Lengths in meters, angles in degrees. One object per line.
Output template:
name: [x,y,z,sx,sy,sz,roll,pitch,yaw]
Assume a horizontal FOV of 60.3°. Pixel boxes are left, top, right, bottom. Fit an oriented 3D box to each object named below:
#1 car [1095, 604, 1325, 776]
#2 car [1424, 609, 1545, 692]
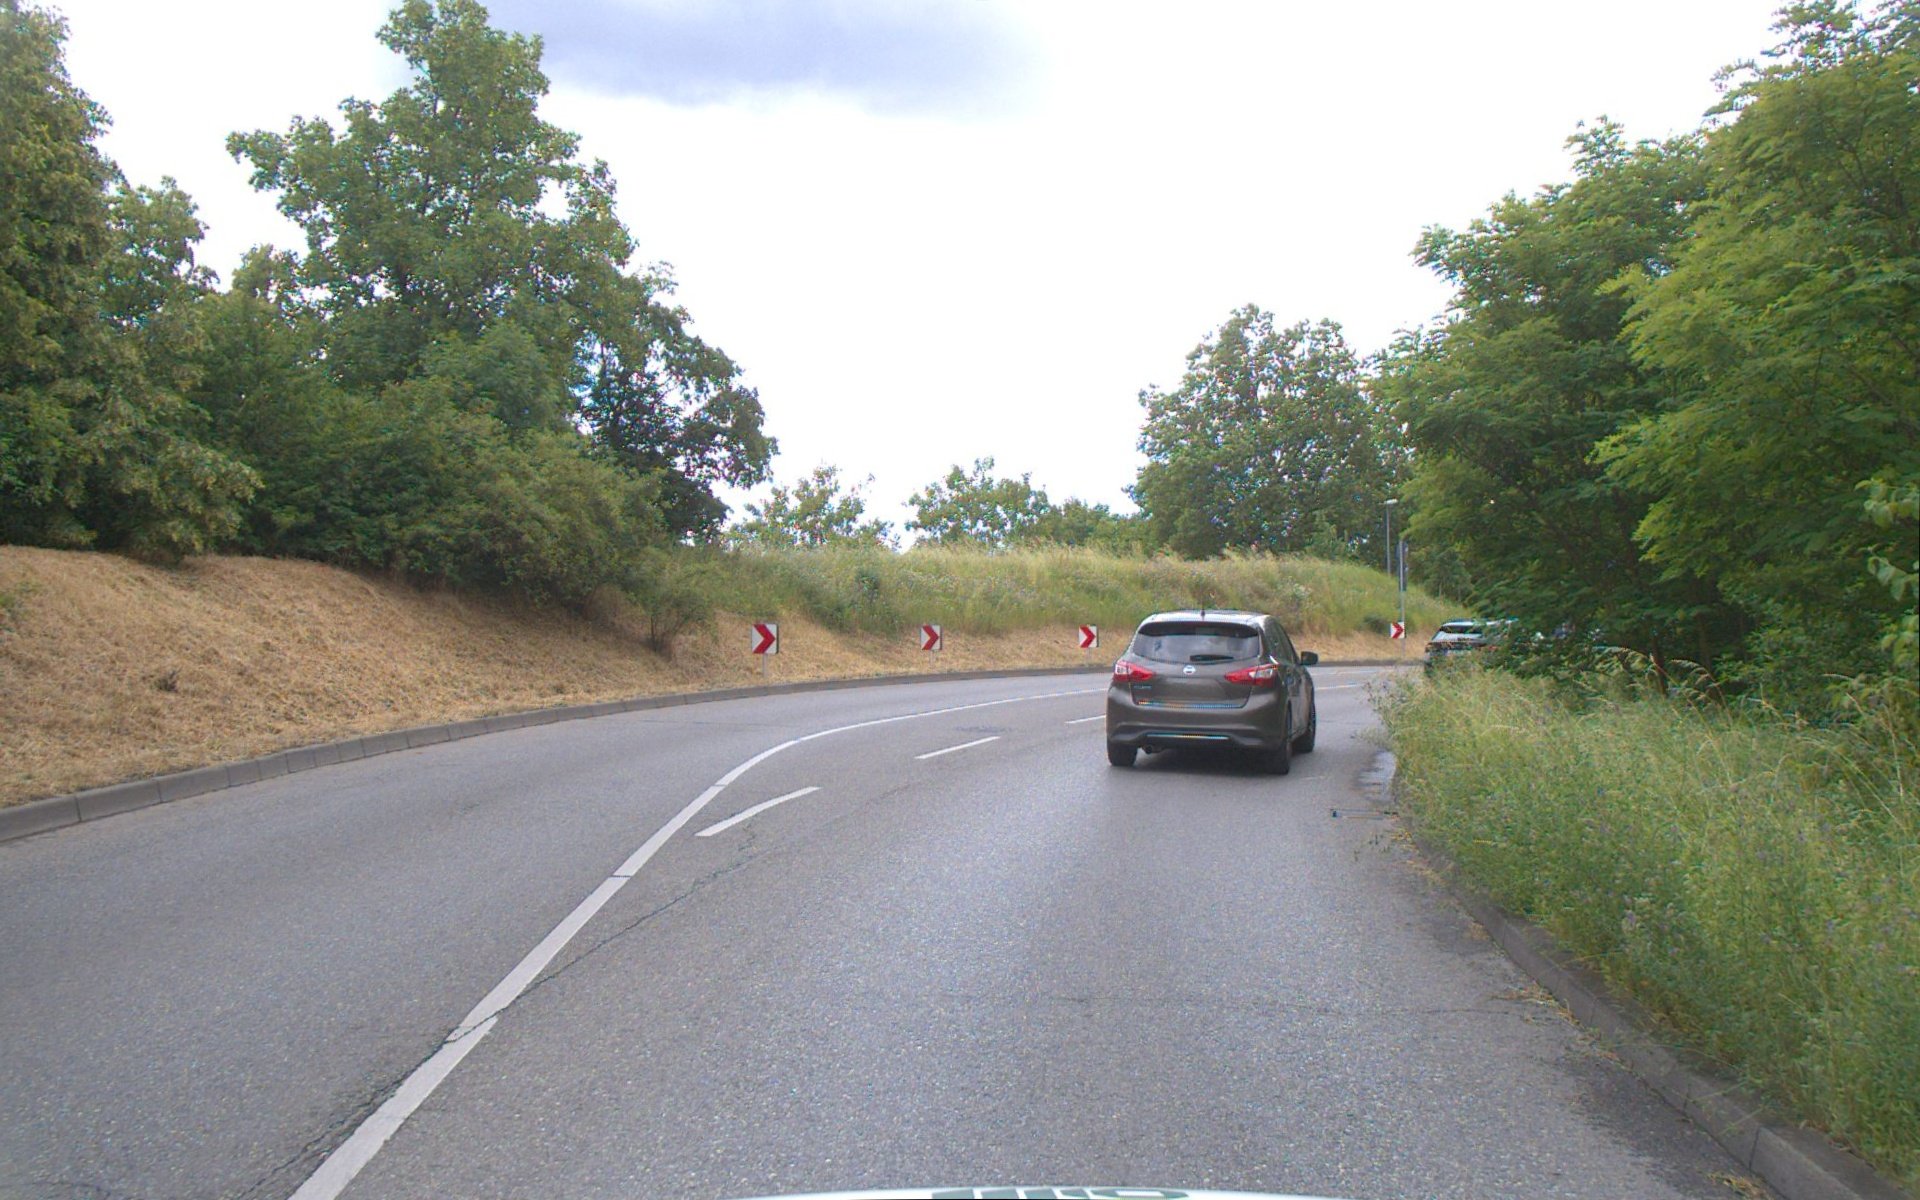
car: [2.701,0.814,17.104,1.806,1.519,4.002,1,0,16]
car: [10.575,0.957,33.189,1.862,1.492,3.998,1,1,24]
